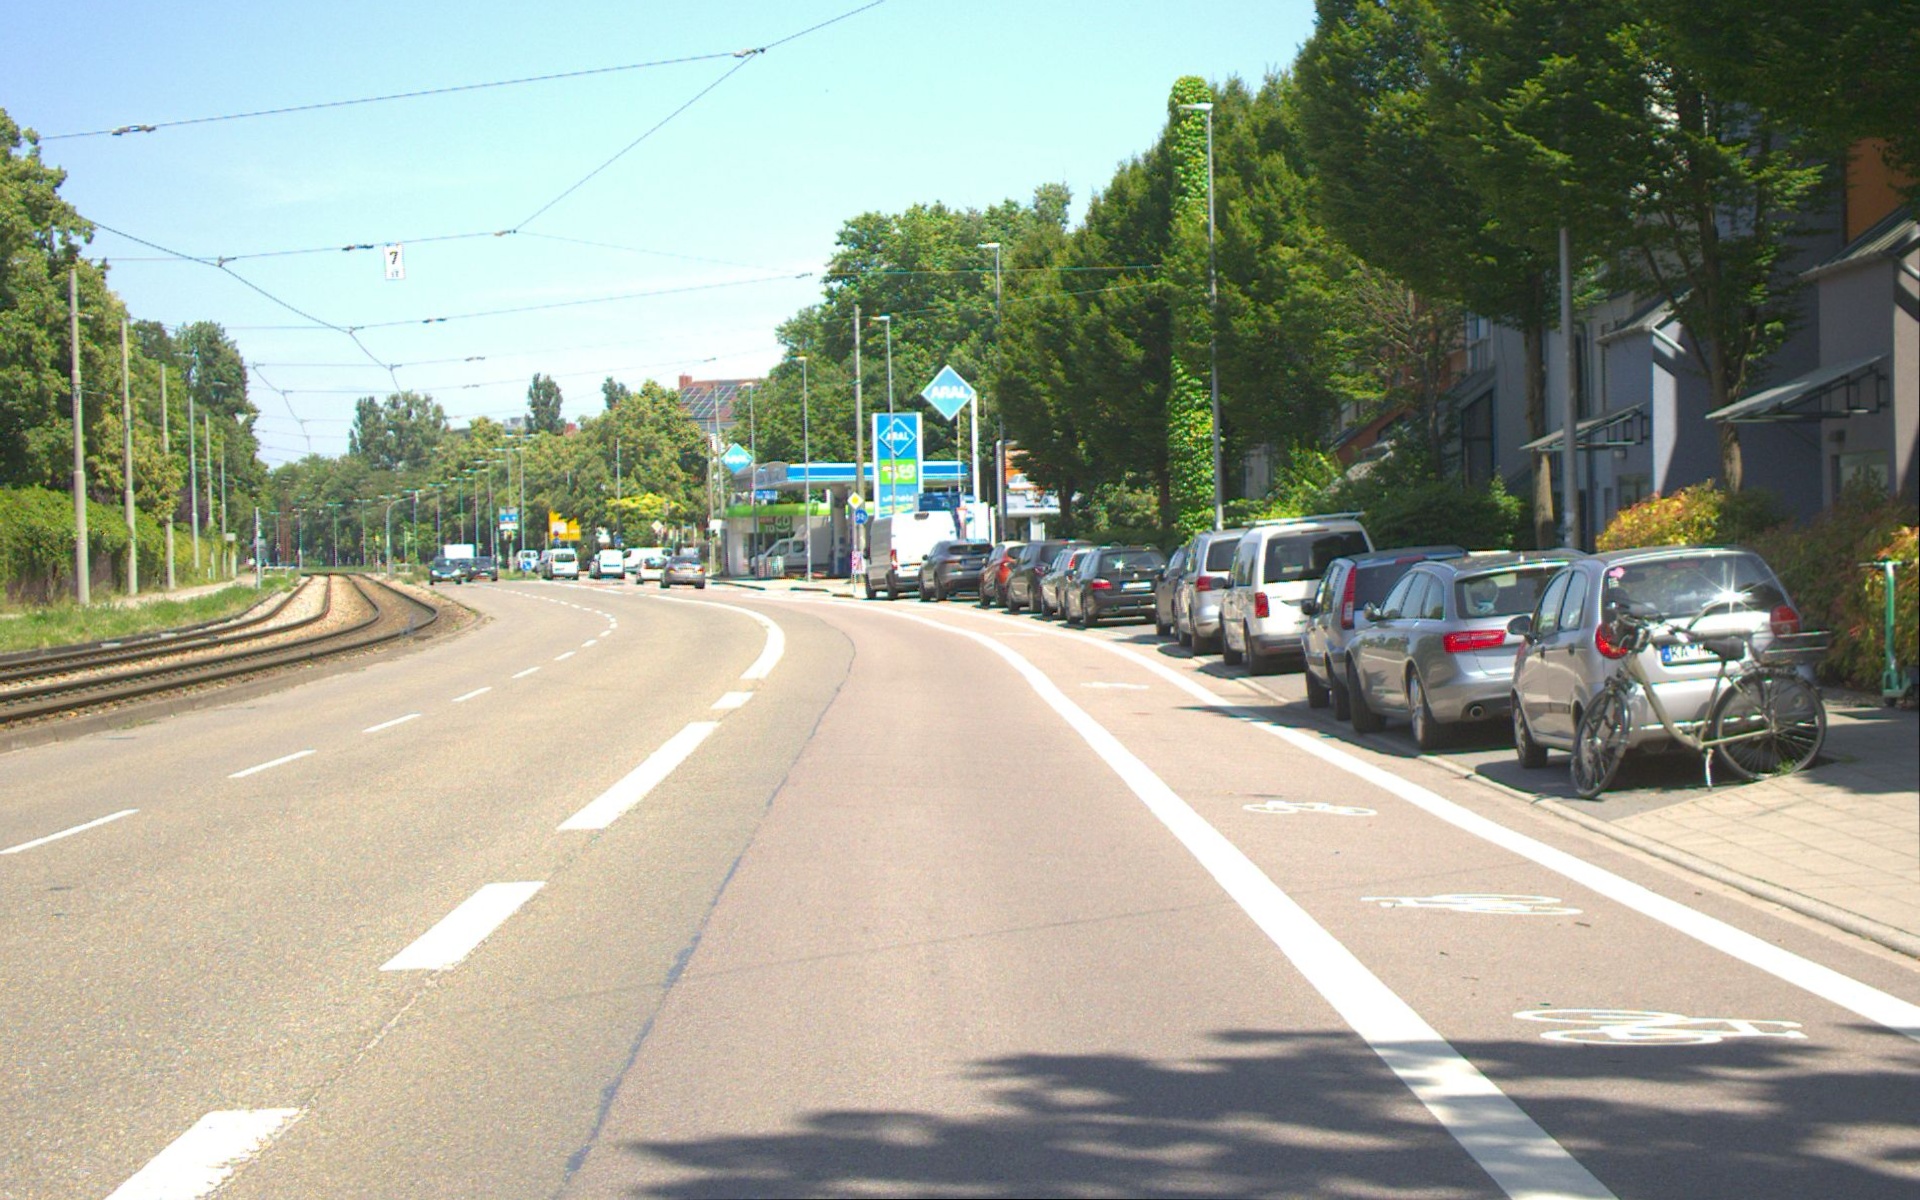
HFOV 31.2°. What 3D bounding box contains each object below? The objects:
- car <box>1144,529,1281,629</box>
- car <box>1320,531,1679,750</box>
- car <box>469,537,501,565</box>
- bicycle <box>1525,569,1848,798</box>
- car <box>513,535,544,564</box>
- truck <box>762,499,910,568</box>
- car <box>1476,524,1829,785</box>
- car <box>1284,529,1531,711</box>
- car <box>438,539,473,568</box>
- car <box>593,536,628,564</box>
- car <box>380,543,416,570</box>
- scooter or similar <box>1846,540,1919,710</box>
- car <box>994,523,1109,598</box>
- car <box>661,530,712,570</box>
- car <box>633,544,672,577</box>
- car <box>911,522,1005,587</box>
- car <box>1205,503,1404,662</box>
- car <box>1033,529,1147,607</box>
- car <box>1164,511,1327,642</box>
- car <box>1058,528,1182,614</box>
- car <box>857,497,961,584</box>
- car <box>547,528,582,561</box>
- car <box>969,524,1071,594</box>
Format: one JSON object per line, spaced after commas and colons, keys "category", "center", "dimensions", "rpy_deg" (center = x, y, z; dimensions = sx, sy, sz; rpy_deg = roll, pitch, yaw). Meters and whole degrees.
{"category": "car", "center": [3.989, -0.365, 54.859], "dimensions": [1.583, 1.418, 4.181], "rpy_deg": [-3, 2, -3]}
{"category": "car", "center": [4.320, 0.253, 28.336], "dimensions": [1.840, 1.524, 4.967], "rpy_deg": [-3, 2, -3]}
{"category": "car", "center": [-28.978, -3.002, 209.683], "dimensions": [1.755, 1.625, 4.325], "rpy_deg": [-4, 2, -10]}
{"category": "bicycle", "center": [4.483, 0.507, 21.292], "dimensions": [1.774, 1.224, 0.683], "rpy_deg": [-6, 1, 4]}
{"category": "car", "center": [-26.208, -3.079, 208.686], "dimensions": [1.755, 1.625, 4.325], "rpy_deg": [-3, 2, -8]}
{"category": "truck", "center": [-6.790, -3.633, 187.479], "dimensions": [7.967, 3.590, 2.663], "rpy_deg": [-1, 1, -3]}
{"category": "car", "center": [4.603, 0.296, 23.328], "dimensions": [1.519, 1.524, 3.817], "rpy_deg": [-3, 2, 0]}
{"category": "car", "center": [4.271, 0.142, 33.371], "dimensions": [1.841, 1.524, 4.216], "rpy_deg": [-3, 2, 1]}
{"category": "car", "center": [-27.940, -2.593, 190.433], "dimensions": [1.755, 1.504, 4.325], "rpy_deg": [-4, 2, -10]}
{"category": "car", "center": [-21.677, -3.090, 213.018], "dimensions": [1.755, 1.625, 4.325], "rpy_deg": [-4, 2, -10]}
{"category": "car", "center": [-36.424, -2.811, 222.723], "dimensions": [1.755, 1.625, 4.325], "rpy_deg": [-4, 2, -15]}
{"category": "scooter or similar", "center": [7.200, 0.177, 26.475], "dimensions": [0.384, 1.275, 1.339], "rpy_deg": [0, 1, -1]}
{"category": "car", "center": [2.030, -0.909, 77.518], "dimensions": [1.706, 1.557, 4.325], "rpy_deg": [-4, 2, -10]}
{"category": "car", "center": [-12.079, -2.212, 151.711], "dimensions": [1.755, 1.625, 4.325], "rpy_deg": [-4, 2, -10]}
{"category": "car", "center": [-16.257, -2.113, 181.699], "dimensions": [1.755, 1.625, 4.325], "rpy_deg": [-3, 2, -8]}
{"category": "car", "center": [-0.080, -1.243, 93.399], "dimensions": [1.755, 1.625, 4.325], "rpy_deg": [-4, 2, -10]}
{"category": "car", "center": [4.278, -0.264, 43.309], "dimensions": [1.840, 1.787, 4.354], "rpy_deg": [-3, 2, -2]}
{"category": "car", "center": [2.686, -0.703, 72.013], "dimensions": [1.706, 1.487, 4.732], "rpy_deg": [-3, 2, -5]}
{"category": "car", "center": [4.058, -0.382, 49.492], "dimensions": [1.840, 1.688, 4.779], "rpy_deg": [-3, 2, 0]}
{"category": "car", "center": [3.044, -0.585, 66.345], "dimensions": [1.706, 1.487, 5.039], "rpy_deg": [-3, 2, -4]}
{"category": "car", "center": [-1.584, -1.792, 103.503], "dimensions": [2.000, 2.448, 6.111], "rpy_deg": [-4, 2, -11]}
{"category": "car", "center": [-23.968, -3.340, 208.187], "dimensions": [1.755, 1.868, 4.325], "rpy_deg": [-4, 2, -10]}
{"category": "car", "center": [1.435, -1.022, 83.431], "dimensions": [1.706, 1.557, 4.325], "rpy_deg": [-3, 2, -8]}
